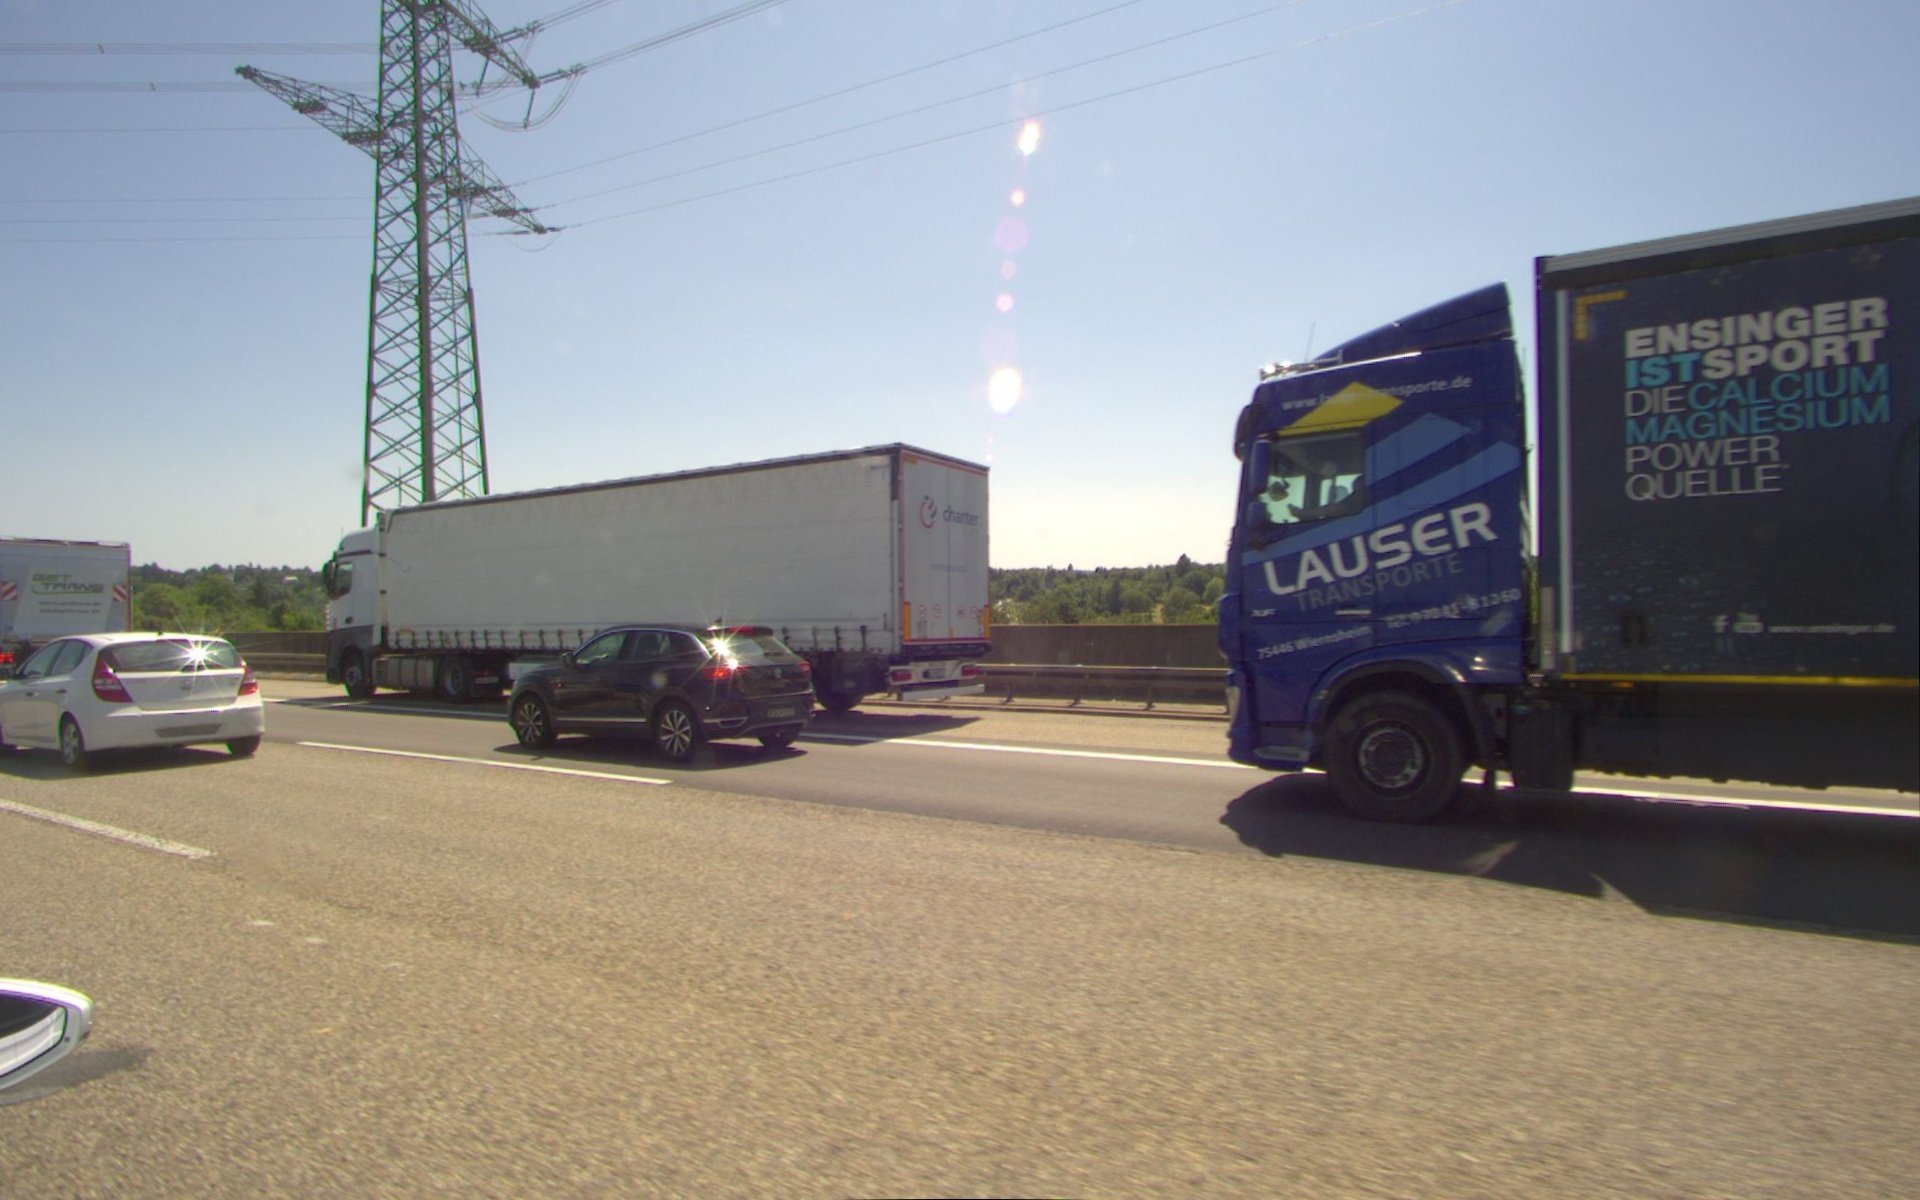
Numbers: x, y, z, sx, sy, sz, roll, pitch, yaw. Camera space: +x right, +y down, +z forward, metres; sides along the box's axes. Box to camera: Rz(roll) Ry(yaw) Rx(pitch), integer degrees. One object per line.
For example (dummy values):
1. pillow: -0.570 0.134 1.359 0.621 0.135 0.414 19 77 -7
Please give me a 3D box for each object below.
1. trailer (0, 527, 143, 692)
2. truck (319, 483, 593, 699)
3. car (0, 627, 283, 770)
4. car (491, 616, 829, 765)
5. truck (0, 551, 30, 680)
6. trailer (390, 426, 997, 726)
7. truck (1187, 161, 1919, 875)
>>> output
1. trailer: -24.474 0.296 25.966 7.899 3.748 2.693 -1 -1 32
2. truck: -11.239 -0.070 22.214 6.071 4.194 2.688 -1 -2 32
3. car: -10.309 1.074 12.275 4.232 1.474 1.785 -1 -1 32
4. car: -3.708 0.993 12.166 4.048 1.546 1.733 -1 -2 32
5. truck: -32.422 0.505 30.928 10.851 3.695 2.652 -1 -1 32
6. trailer: -5.690 -0.186 18.697 13.233 4.195 2.710 -1 -1 32
7. truck: 6.847 -0.459 6.431 10.298 4.118 2.518 -1 -1 32
